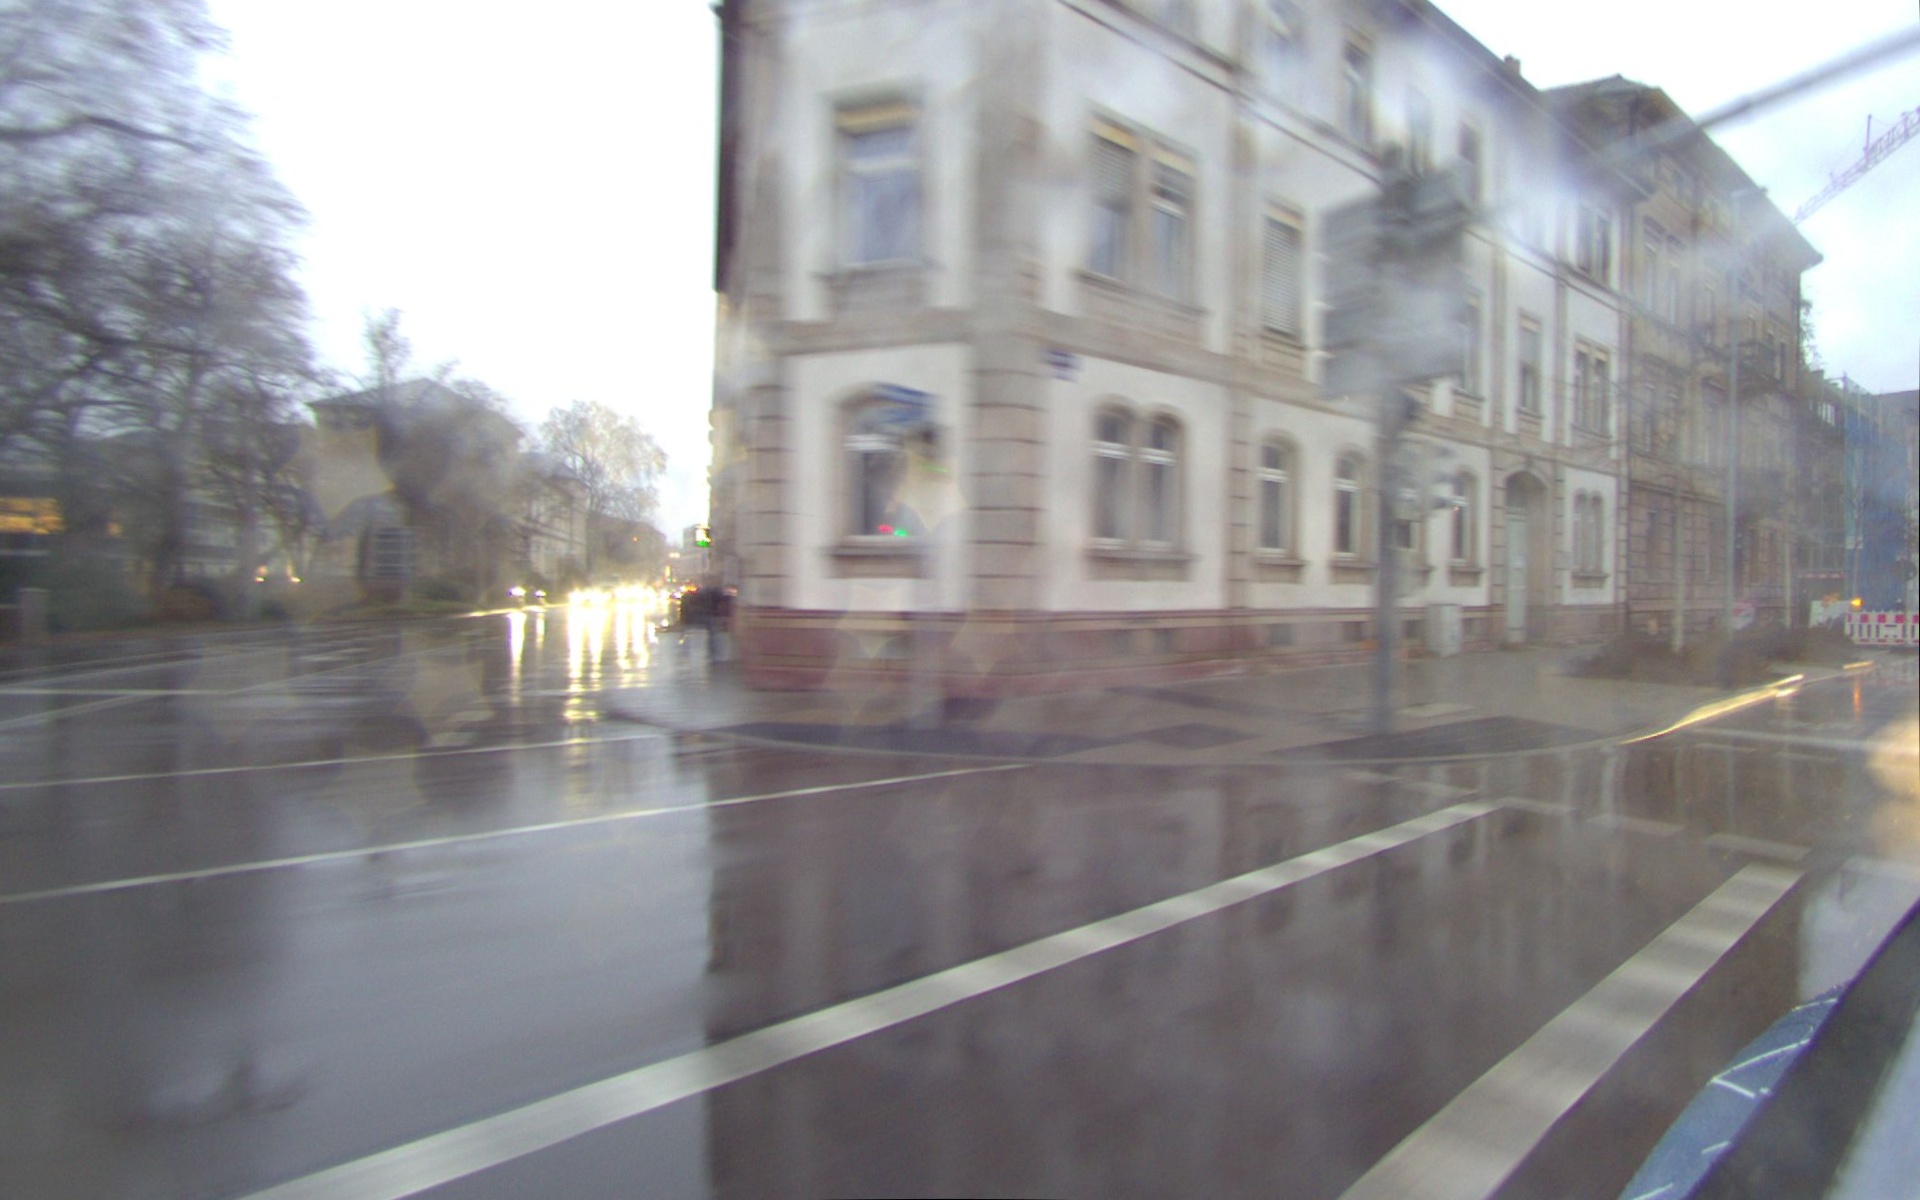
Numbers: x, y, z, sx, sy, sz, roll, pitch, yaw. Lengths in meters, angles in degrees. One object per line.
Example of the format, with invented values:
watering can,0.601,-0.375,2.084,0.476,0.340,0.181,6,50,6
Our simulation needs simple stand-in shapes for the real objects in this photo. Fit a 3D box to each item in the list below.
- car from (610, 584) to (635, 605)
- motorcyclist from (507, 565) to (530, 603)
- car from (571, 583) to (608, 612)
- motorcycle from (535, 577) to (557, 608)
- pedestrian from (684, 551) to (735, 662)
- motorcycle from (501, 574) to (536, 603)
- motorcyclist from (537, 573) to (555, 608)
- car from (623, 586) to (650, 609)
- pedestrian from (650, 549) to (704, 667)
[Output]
car,-33.303,-0.514,99.968,1.958,2.039,4.007,-1,0,-12
motorcyclist,-24.649,-0.900,56.490,0.929,2.080,1.031,-1,0,-9
car,-27.152,-0.196,74.254,1.958,2.039,4.007,-1,0,-12
motorcycle,-26.444,-0.468,64.730,0.928,1.868,3.532,-1,0,-17
pedestrian,-4.706,0.114,18.974,0.849,2.006,0.980,-1,0,-18
motorcycle,-24.658,-0.636,56.548,0.929,1.579,3.530,-1,0,-9
motorcyclist,-26.430,-0.622,64.689,0.928,2.195,1.198,-1,0,-17
car,-29.834,-0.189,93.522,1.958,2.039,4.007,-1,0,-12
pedestrian,-4.997,0.127,17.836,0.849,2.006,0.980,-1,0,-18
